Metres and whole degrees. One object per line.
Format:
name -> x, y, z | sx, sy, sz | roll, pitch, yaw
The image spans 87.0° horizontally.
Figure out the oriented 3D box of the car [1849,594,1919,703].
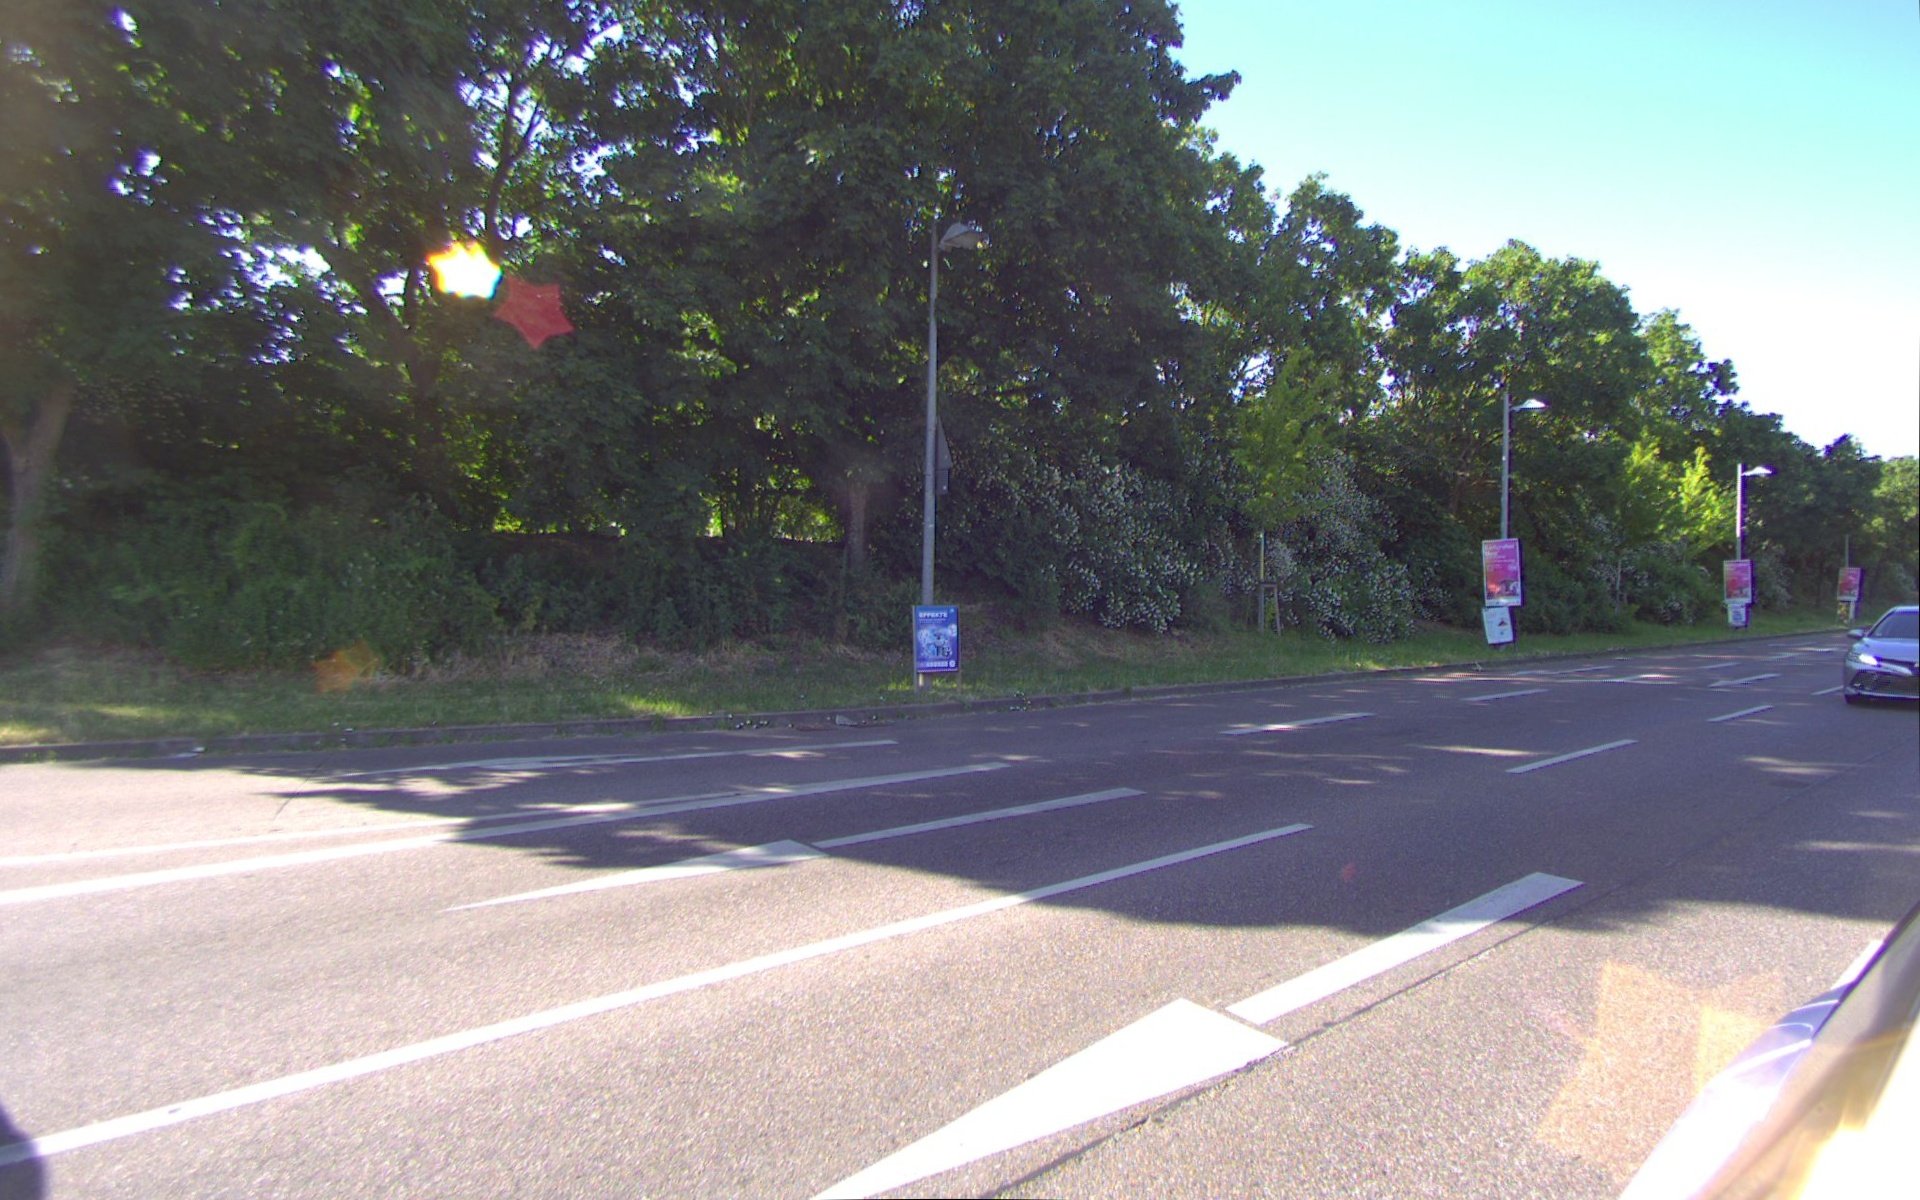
car -> 14.831, 0.659, 14.946 | 4.512, 1.454, 1.875 | 0, 1, -40
